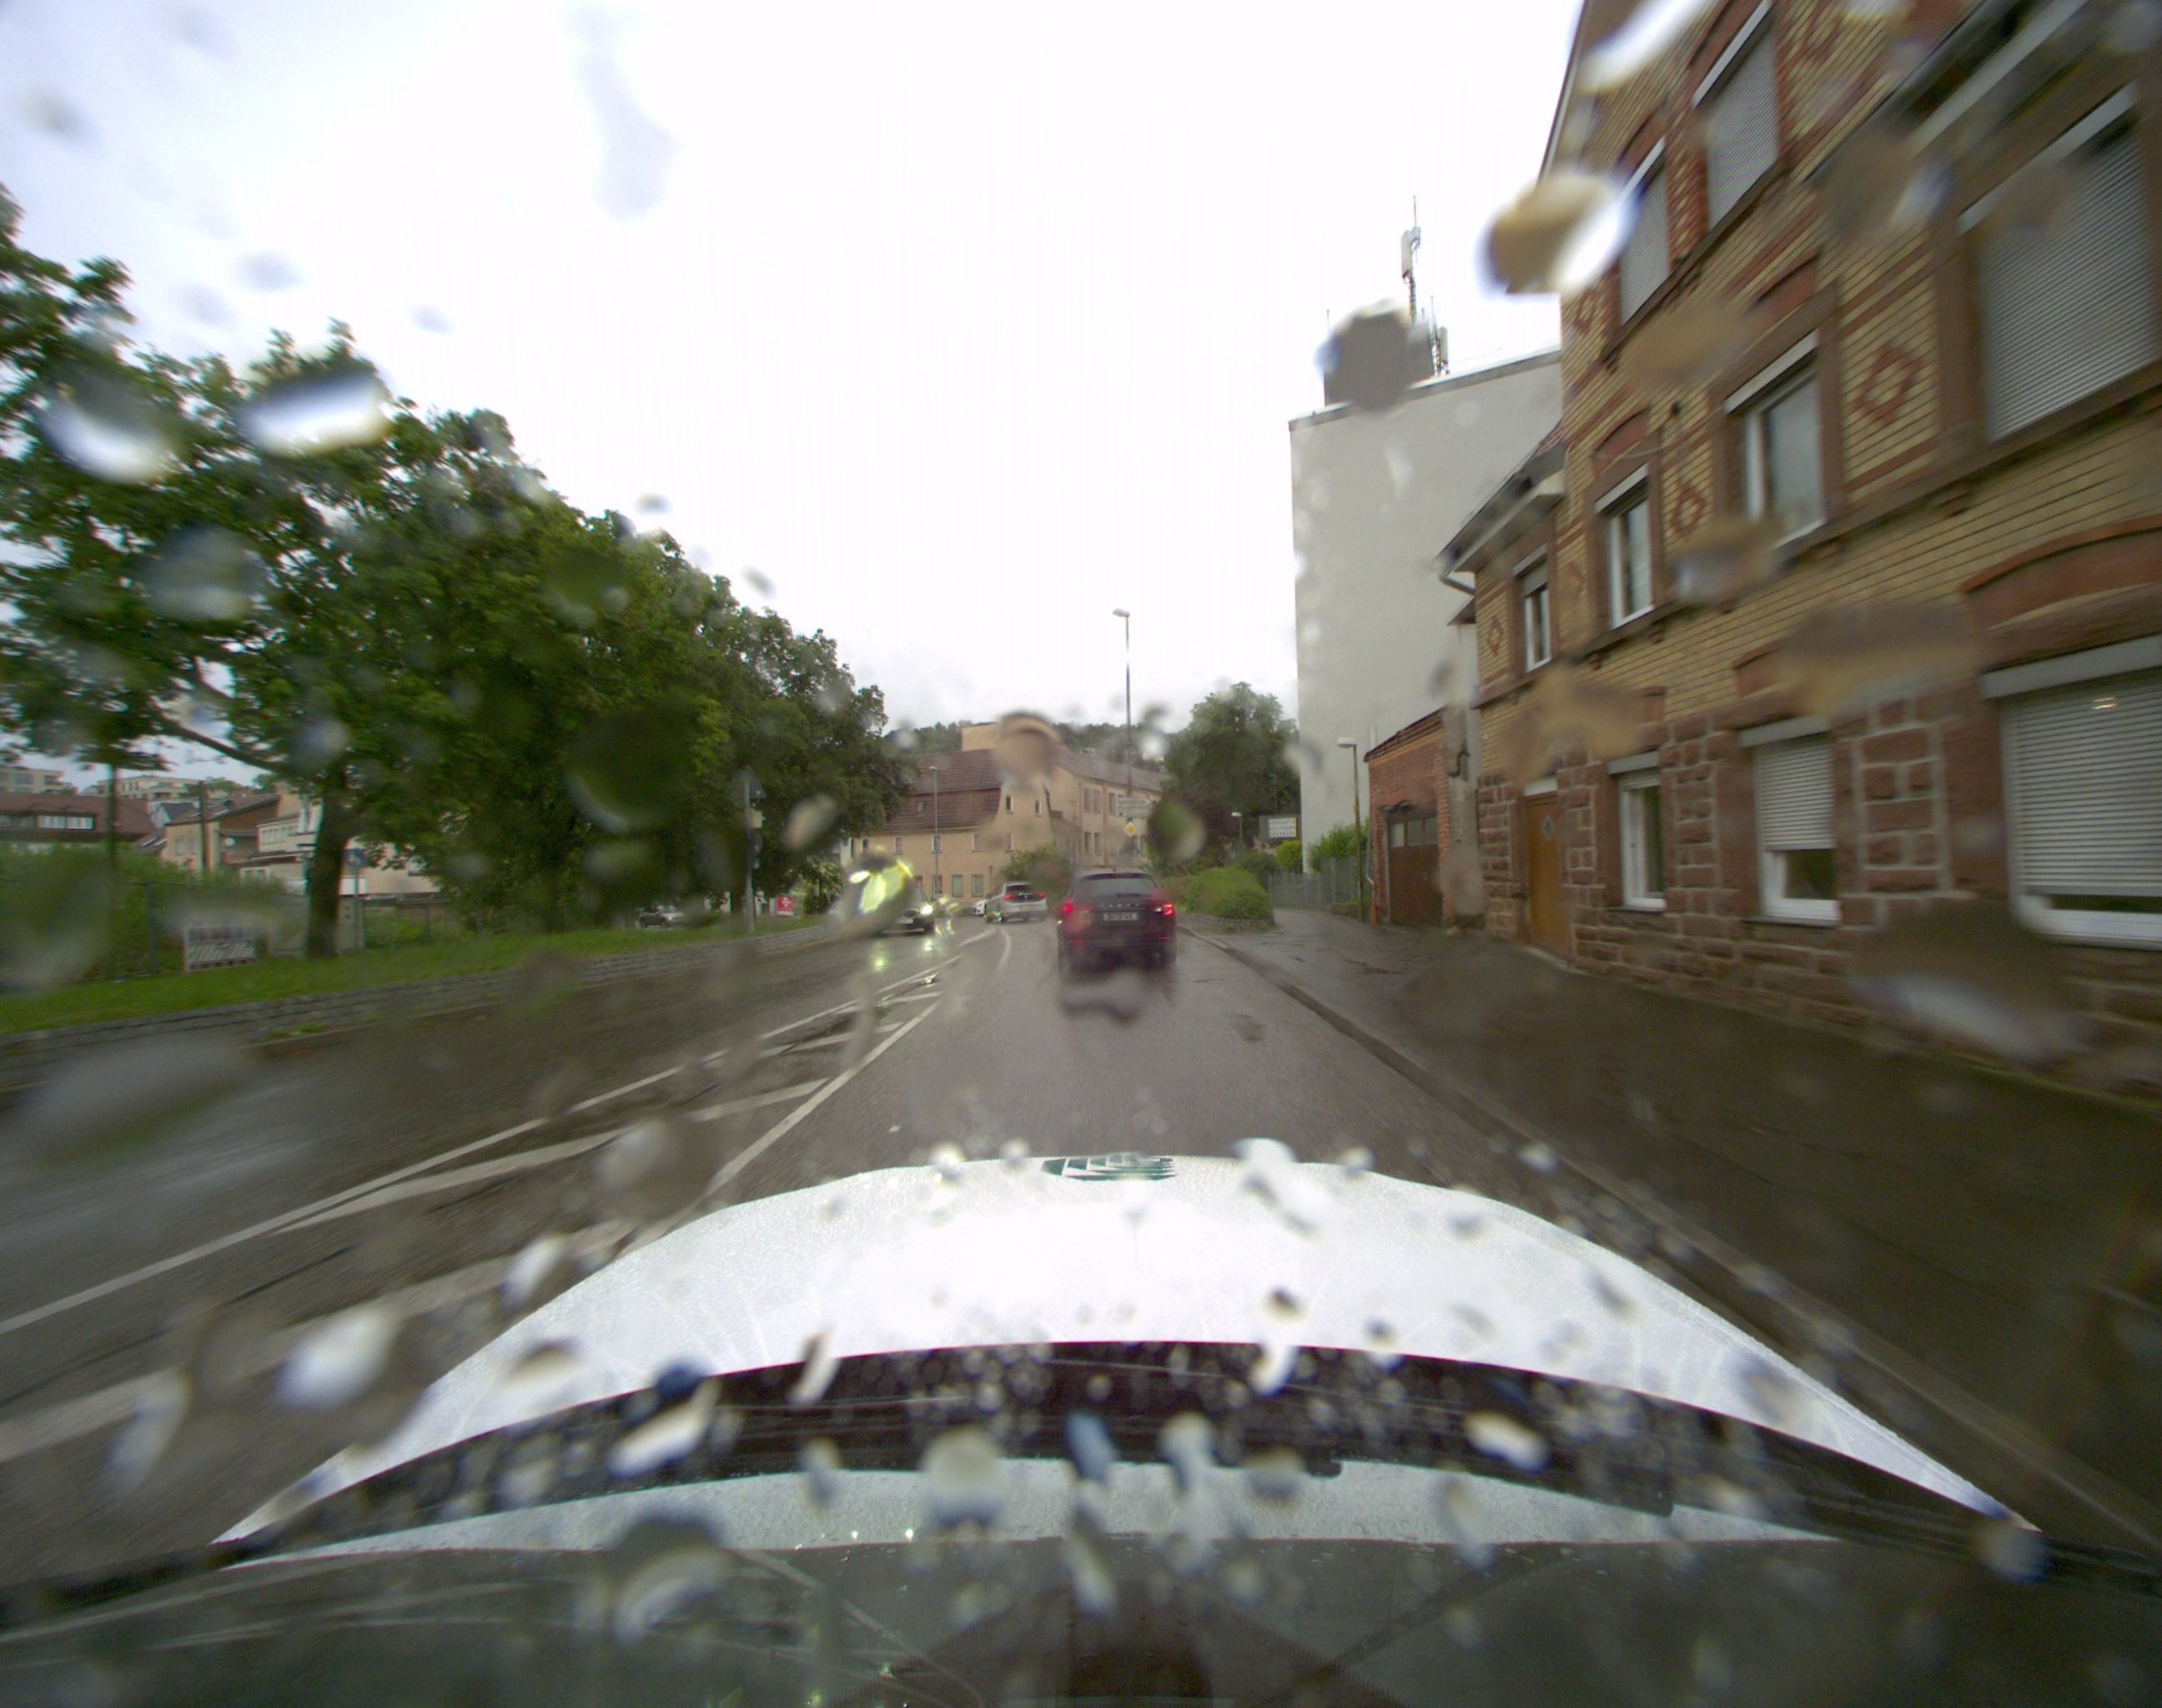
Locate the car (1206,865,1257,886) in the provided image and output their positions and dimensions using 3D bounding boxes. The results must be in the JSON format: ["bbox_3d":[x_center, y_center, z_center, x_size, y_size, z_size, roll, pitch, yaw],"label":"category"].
[{"bbox_3d":[12.943,1.892,70.024,3.855,1.573,1.729,-4,-2,26],"label":"car"}]

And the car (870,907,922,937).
[{"bbox_3d":[-10.640,3.848,46.617,1.738,1.591,4.142,2,-4,-30],"label":"car"}]

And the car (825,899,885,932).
[{"bbox_3d":[-11.654,3.155,41.891,1.736,1.505,4.213,-1,-3,-33],"label":"car"}]

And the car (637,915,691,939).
[{"bbox_3d":[-30.243,5.282,59.108,3.640,1.590,1.911,-3,-1,34],"label":"car"}]

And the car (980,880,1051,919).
[{"bbox_3d":[-2.590,1.704,31.449,1.823,1.360,3.964,-1,-2,-18],"label":"car"}]

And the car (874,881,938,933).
[{"bbox_3d":[-5.434,1.647,24.926,1.738,1.411,4.033,-1,-5,-14],"label":"car"}]

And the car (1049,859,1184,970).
[{"bbox_3d":[0.418,0.887,13.544,1.778,1.483,4.240,-2,-1,-4],"label":"car"}]

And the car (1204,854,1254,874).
[{"bbox_3d":[13.552,0.930,74.501,4.374,1.573,1.725,-4,-2,12],"label":"car"}]

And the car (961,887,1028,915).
[{"bbox_3d":[-5.436,2.968,51.293,3.770,1.453,1.698,-3,-2,-25],"label":"car"}]
